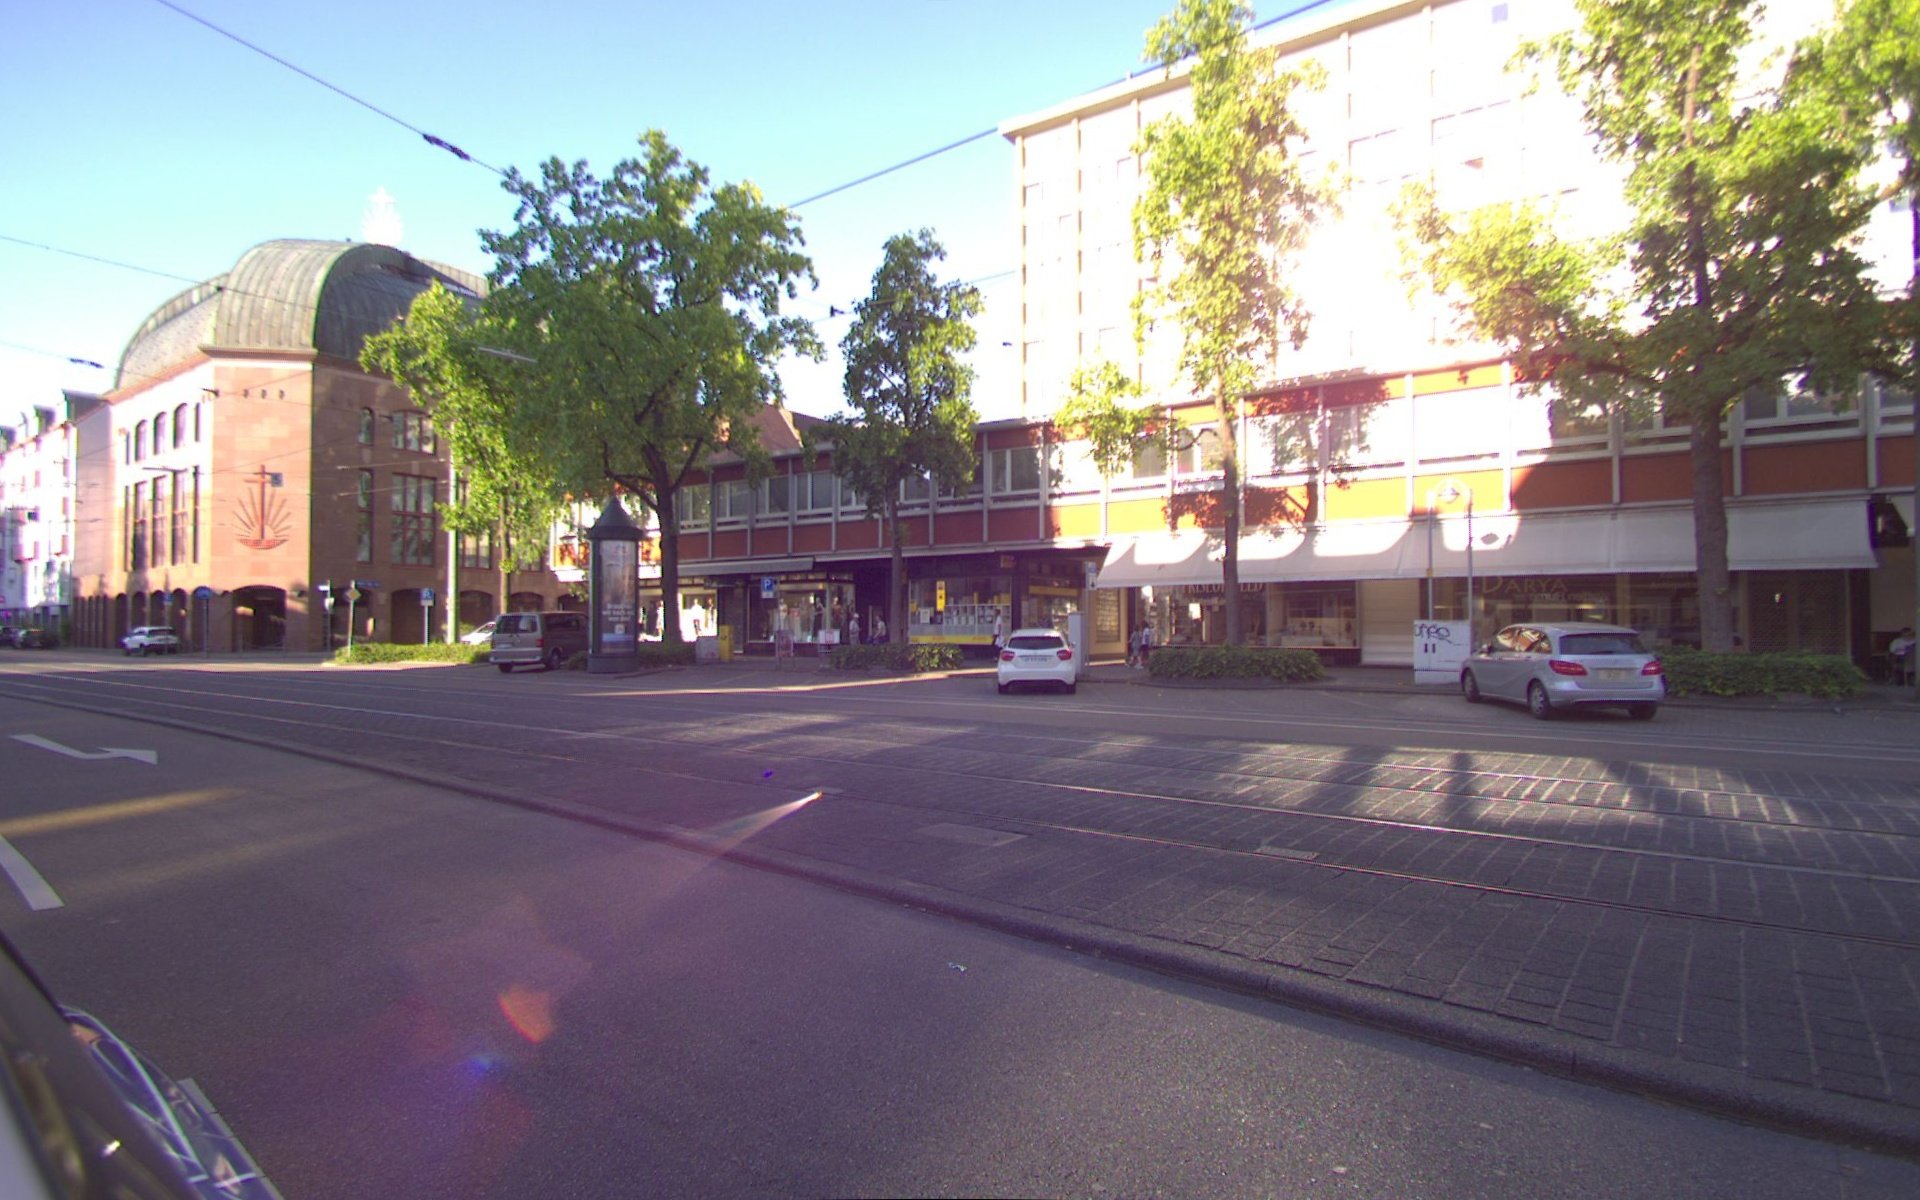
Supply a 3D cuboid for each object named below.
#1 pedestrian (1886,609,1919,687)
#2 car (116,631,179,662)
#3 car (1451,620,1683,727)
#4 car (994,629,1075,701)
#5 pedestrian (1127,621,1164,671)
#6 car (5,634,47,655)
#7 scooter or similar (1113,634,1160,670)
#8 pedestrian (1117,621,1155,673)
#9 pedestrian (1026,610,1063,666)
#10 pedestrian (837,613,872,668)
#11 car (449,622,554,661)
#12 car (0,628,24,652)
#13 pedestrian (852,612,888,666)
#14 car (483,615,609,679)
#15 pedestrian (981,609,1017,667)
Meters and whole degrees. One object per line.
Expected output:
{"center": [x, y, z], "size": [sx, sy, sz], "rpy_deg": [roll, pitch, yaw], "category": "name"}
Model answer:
{"center": [19.774, 0.983, 20.982], "size": [0.705, 1.575, 0.864], "rpy_deg": [-2, -2, 37], "category": "pedestrian"}
{"center": [-45.065, 2.559, 56.090], "size": [4.268, 1.602, 1.581], "rpy_deg": [-1, 0, 35], "category": "car"}
{"center": [10.408, 1.180, 17.791], "size": [1.804, 1.578, 4.273], "rpy_deg": [0, 0, 6], "category": "car"}
{"center": [1.816, 1.473, 24.035], "size": [1.745, 1.440, 4.262], "rpy_deg": [-1, 0, 6], "category": "car"}
{"center": [5.599, 1.389, 30.491], "size": [0.898, 1.481, 0.681], "rpy_deg": [-2, -2, 35], "category": "pedestrian"}
{"center": [-66.479, 3.159, 72.000], "size": [3.677, 1.411, 1.627], "rpy_deg": [-1, -1, 38], "category": "car"}
{"center": [5.454, 1.594, 31.292], "size": [1.334, 1.102, 0.470], "rpy_deg": [-1, -1, 35], "category": "scooter or similar"}
{"center": [5.200, 1.375, 29.923], "size": [0.898, 1.509, 0.681], "rpy_deg": [-2, -2, 35], "category": "pedestrian"}
{"center": [2.905, 1.317, 34.879], "size": [0.887, 1.892, 0.920], "rpy_deg": [2, -3, -44], "category": "pedestrian"}
{"center": [-3.638, 1.391, 34.899], "size": [0.903, 1.892, 0.903], "rpy_deg": [1, -2, -31], "category": "pedestrian"}
{"center": [-25.691, 2.293, 56.855], "size": [2.127, 1.982, 4.936], "rpy_deg": [2, 0, 35], "category": "car"}
{"center": [-72.093, 2.973, 75.870], "size": [4.550, 1.713, 1.942], "rpy_deg": [-1, -1, 35], "category": "car"}
{"center": [-3.175, 1.373, 35.844], "size": [0.898, 1.892, 0.908], "rpy_deg": [-2, -2, 34], "category": "pedestrian"}
{"center": [-13.966, 1.528, 34.508], "size": [1.831, 1.943, 5.114], "rpy_deg": [0, 0, 5], "category": "car"}
{"center": [1.352, 1.289, 34.640], "size": [0.896, 1.963, 0.987], "rpy_deg": [-1, -2, 28], "category": "pedestrian"}
